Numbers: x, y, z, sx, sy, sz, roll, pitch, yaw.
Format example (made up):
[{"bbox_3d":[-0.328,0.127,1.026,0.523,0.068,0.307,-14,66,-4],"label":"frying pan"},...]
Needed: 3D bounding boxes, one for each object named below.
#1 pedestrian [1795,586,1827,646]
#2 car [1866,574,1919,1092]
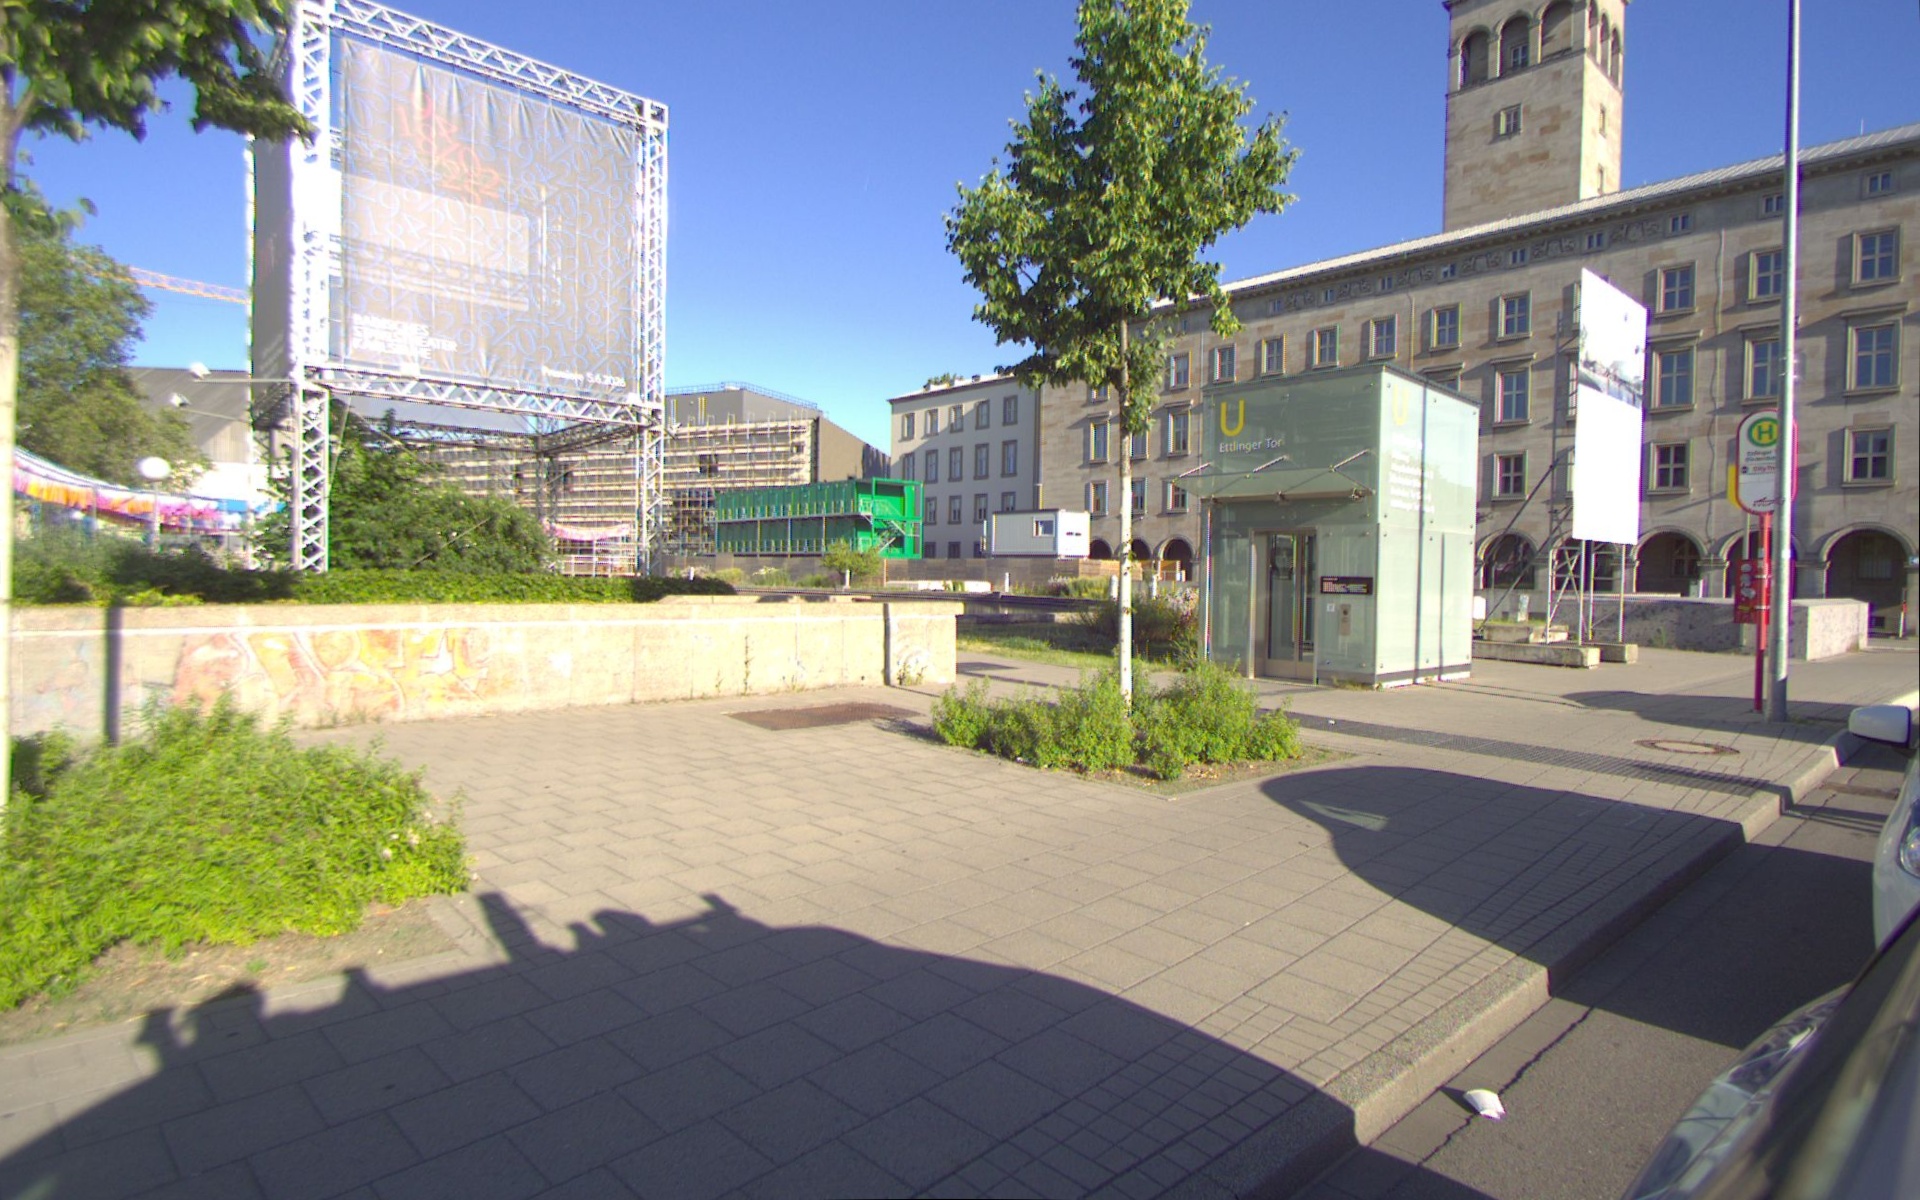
[{"bbox_3d":[24.785,0.451,29.476,0.572,1.732,0.595,0,1,-41],"label":"pedestrian"},{"bbox_3d":[4.639,0.678,3.667,3.930,1.473,1.518,0,2,-41],"label":"car"}]
